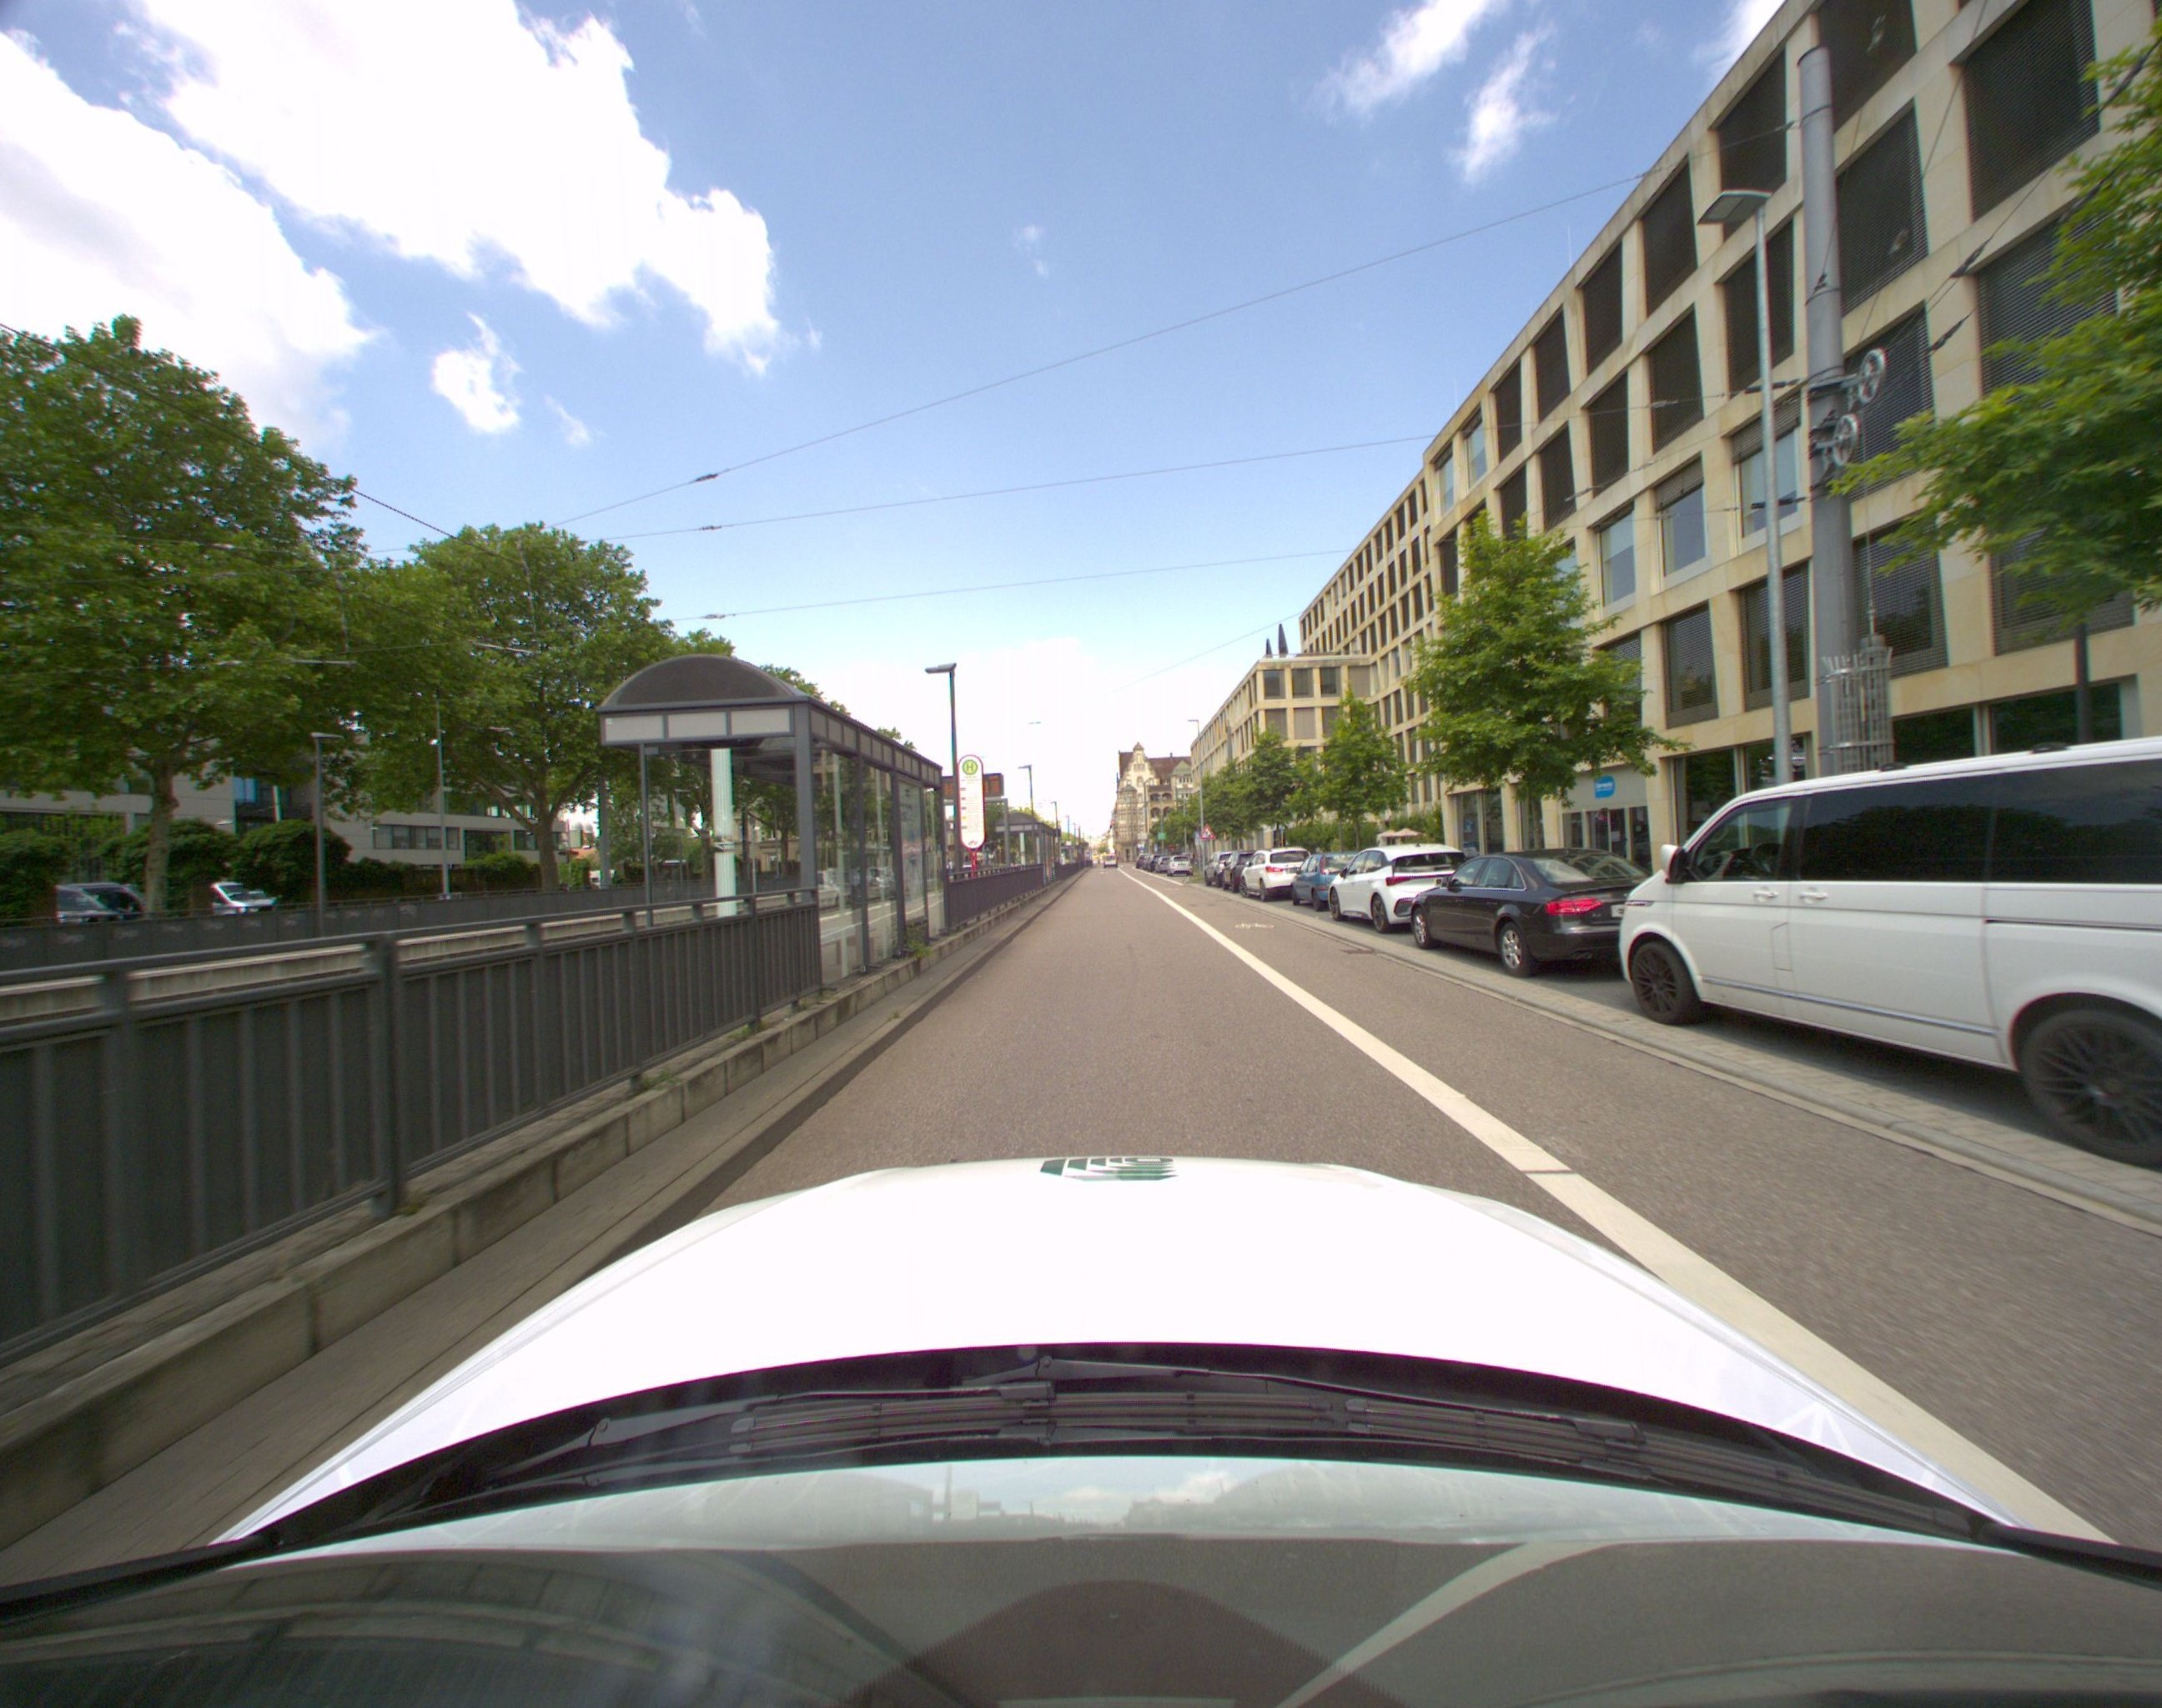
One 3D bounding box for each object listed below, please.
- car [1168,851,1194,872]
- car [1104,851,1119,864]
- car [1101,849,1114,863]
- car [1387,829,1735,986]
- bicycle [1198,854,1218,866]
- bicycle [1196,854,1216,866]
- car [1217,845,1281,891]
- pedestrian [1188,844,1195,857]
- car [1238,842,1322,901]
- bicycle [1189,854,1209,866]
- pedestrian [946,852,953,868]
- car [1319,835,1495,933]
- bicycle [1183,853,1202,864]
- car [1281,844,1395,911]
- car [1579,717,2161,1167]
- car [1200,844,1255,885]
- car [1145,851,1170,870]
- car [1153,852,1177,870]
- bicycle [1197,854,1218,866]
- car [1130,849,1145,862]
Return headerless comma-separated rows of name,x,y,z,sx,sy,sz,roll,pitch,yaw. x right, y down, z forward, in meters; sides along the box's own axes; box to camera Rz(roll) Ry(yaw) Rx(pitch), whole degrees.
car,7.177,0.530,58.878,1.585,1.460,3.615,-1,0,3
car,4.103,0.445,109.020,1.862,1.746,4.001,-1,0,1
car,3.970,0.338,121.647,1.862,2.020,4.001,-1,0,1
car,5.772,0.543,10.623,1.875,1.487,4.565,-4,0,1
bicycle,11.179,0.535,71.690,1.746,0.986,0.326,-3,-1,0
bicycle,11.111,0.542,72.392,1.746,0.986,0.326,-3,-1,0
car,6.445,0.517,31.657,1.679,1.548,3.927,-4,0,1
pedestrian,15.295,-0.497,112.578,0.757,1.670,0.659,-3,0,0
car,6.242,0.507,25.959,1.679,1.606,4.153,-4,0,1
bicycle,11.381,0.558,78.372,1.815,1.030,0.585,-3,0,4
pedestrian,-14.433,0.679,89.480,0.498,1.683,0.643,-4,0,2
car,6.136,0.506,15.903,1.786,1.529,4.160,-4,0,1
bicycle,11.466,0.498,84.066,1.833,1.030,0.340,-4,-1,0
car,6.460,0.541,20.914,1.679,1.457,3.952,-4,0,1
car,5.603,0.322,5.193,1.875,1.939,4.845,-4,0,1
car,6.648,0.453,37.308,1.680,1.633,3.989,-5,0,-1
car,7.027,0.576,75.163,1.732,1.669,4.840,-1,0,0
car,7.174,0.573,69.968,1.586,1.434,4.106,-1,0,0
bicycle,11.151,0.538,72.032,1.746,0.986,0.326,-3,-1,0
car,6.709,0.193,96.856,1.438,1.470,4.091,-1,0,0
